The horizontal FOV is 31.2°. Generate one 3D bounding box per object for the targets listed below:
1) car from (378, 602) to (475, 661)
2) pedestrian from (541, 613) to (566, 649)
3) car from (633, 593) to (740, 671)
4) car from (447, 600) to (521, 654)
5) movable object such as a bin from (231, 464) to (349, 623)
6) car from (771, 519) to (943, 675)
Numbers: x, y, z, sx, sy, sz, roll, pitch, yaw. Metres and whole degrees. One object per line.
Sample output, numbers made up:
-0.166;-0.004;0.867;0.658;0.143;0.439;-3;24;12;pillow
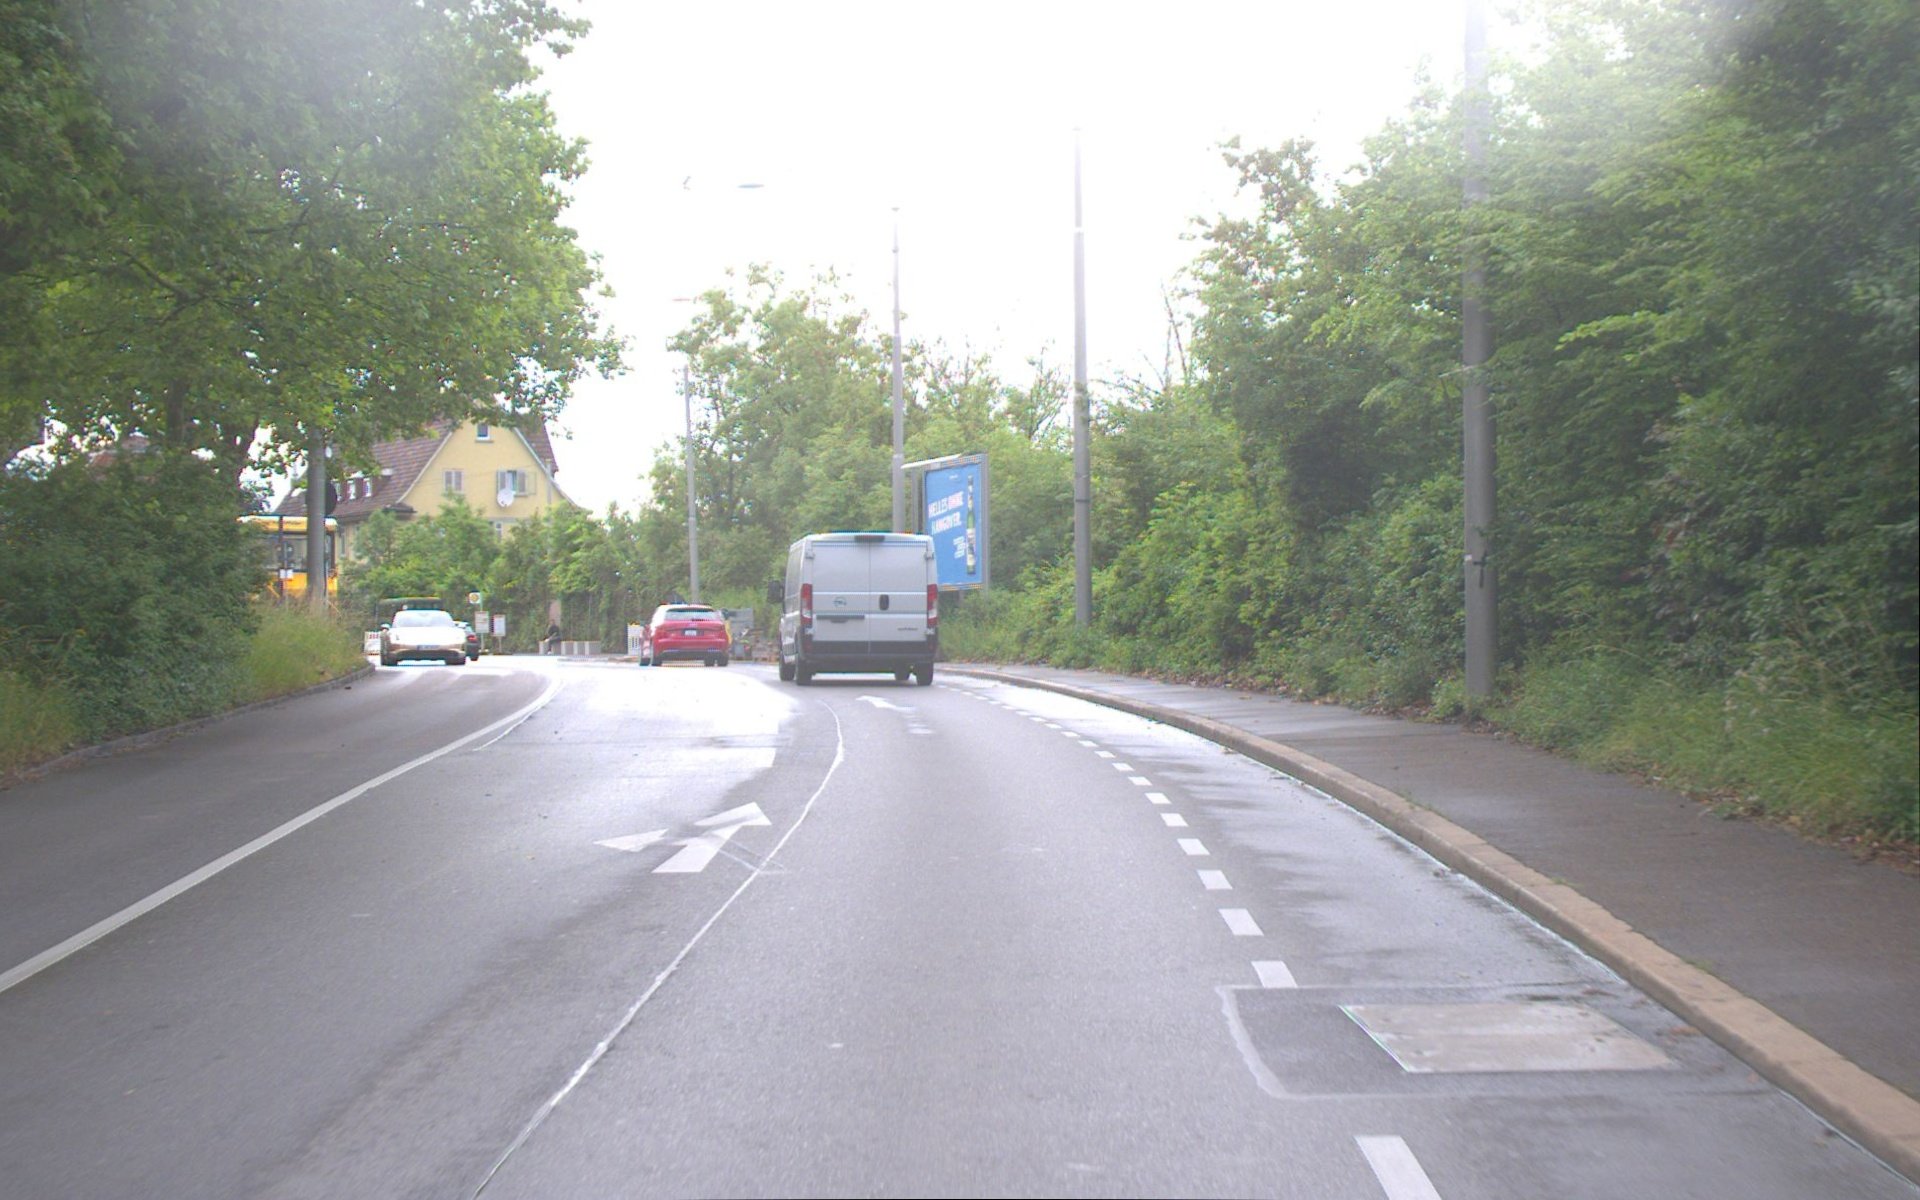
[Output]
-13.617;0.783;87.526;2.070;1.348;4.715;1;1;-13;car
-16.146;1.234;136.526;0.878;1.363;1.066;1;1;-13;pedestrian
-6.348;0.712;79.289;2.237;1.651;4.714;1;1;-7;car
-17.043;0.951;122.871;2.237;1.798;4.715;1;1;-12;car
-16.990;-1.432;87.119;2.773;3.842;5.989;1;1;-11;movable object such as a bin
-1.608;-0.079;51.947;2.237;2.205;4.714;1;1;-6;car
